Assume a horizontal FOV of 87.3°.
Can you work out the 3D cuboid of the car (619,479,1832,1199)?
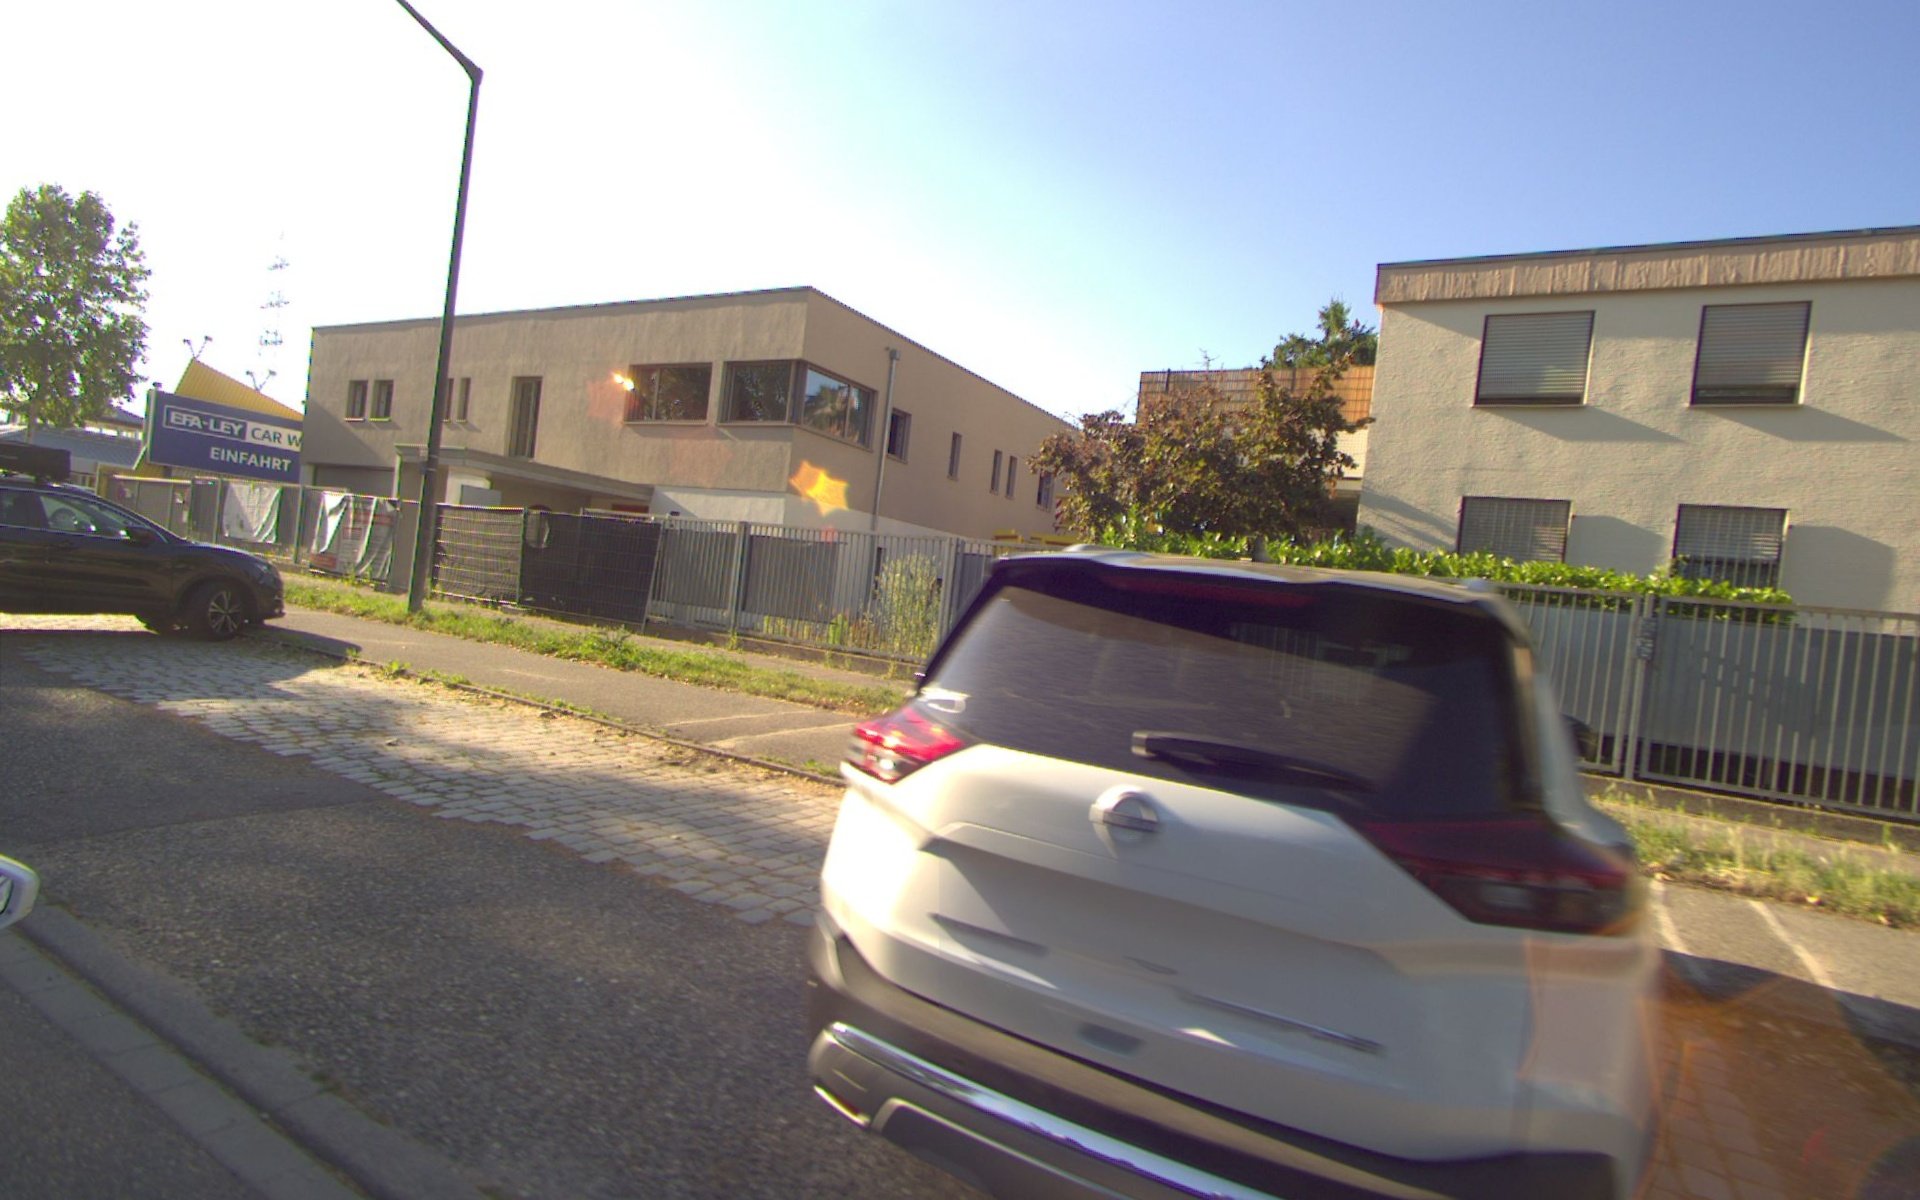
[{"bbox_3d":[1.266,0.699,3.767,1.966,1.735,4.625,7,3,29],"label":"car"}]

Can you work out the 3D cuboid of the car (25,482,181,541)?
[{"bbox_3d":[-32.518,-3.329,38.286,1.965,1.515,3.997,7,-1,27],"label":"car"}]

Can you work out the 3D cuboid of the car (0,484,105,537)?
[{"bbox_3d":[-37.804,-3.708,40.954,1.965,1.614,3.997,7,-1,27],"label":"car"}]

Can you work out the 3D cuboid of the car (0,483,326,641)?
[{"bbox_3d":[-9.975,-0.455,11.120,1.966,1.548,4.625,7,3,29],"label":"car"}]
